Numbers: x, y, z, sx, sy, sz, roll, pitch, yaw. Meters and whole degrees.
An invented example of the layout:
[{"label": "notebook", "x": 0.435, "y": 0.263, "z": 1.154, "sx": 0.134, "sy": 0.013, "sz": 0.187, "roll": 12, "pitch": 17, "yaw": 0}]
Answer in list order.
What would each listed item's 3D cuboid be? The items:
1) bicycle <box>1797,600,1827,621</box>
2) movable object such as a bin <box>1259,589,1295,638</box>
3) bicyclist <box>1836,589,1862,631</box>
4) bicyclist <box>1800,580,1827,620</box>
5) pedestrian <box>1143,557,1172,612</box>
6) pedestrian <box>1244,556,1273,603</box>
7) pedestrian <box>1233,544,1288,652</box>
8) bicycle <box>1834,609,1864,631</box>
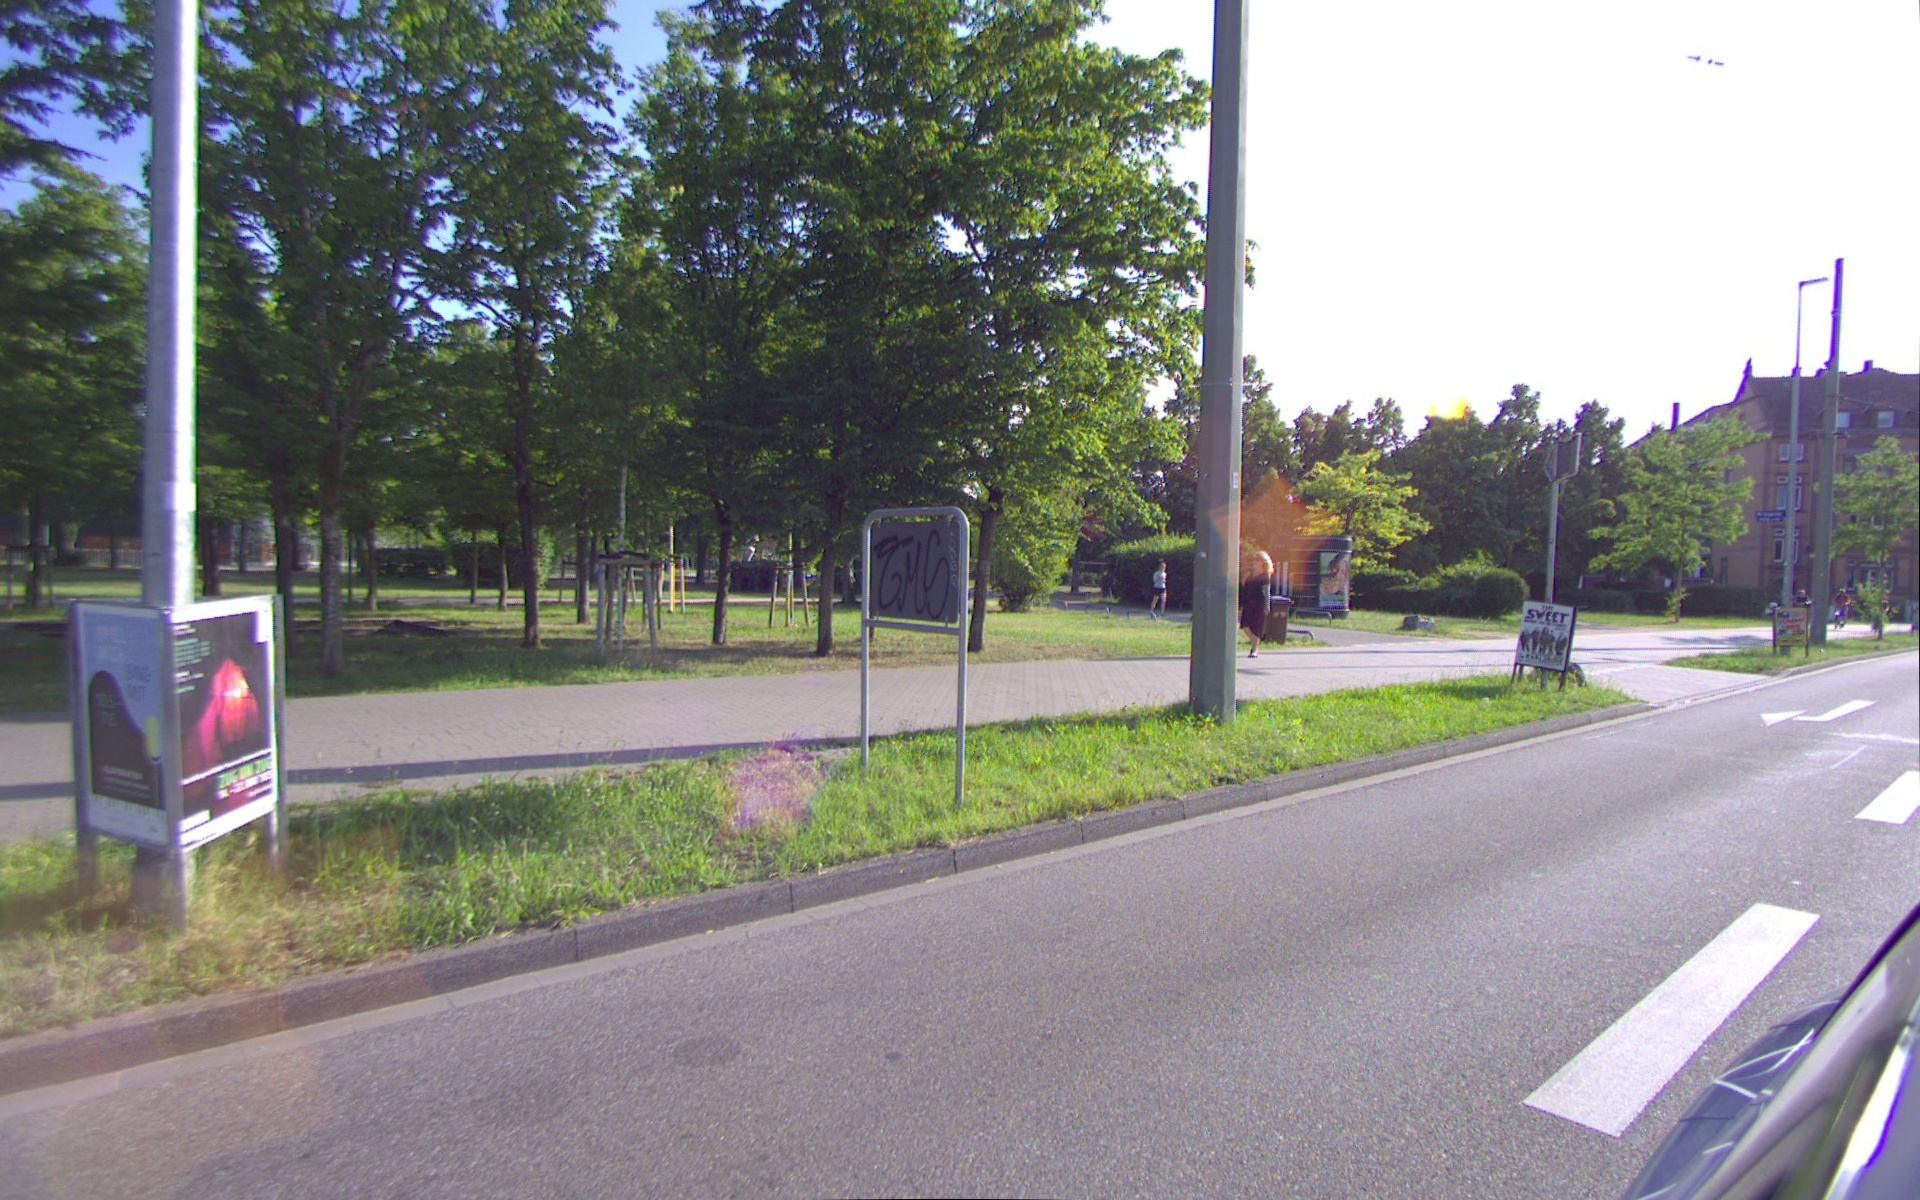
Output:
[{"label": "bicycle", "x": 39.233, "y": 0.466, "z": 46.596, "sx": 2.059, "sy": 0.929, "sz": 0.739, "roll": 0, "pitch": 2, "yaw": -42}, {"label": "movable object such as a bin", "x": 6.230, "y": 0.263, "z": 19.919, "sx": 0.514, "sy": 0.915, "sz": 0.504, "roll": 2, "pitch": 1, "yaw": -2}, {"label": "bicyclist", "x": 39.888, "y": 0.439, "z": 45.398, "sx": 0.998, "sy": 1.795, "sz": 0.730, "roll": 0, "pitch": 2, "yaw": -42}, {"label": "bicyclist", "x": 39.299, "y": 0.008, "z": 46.608, "sx": 1.099, "sy": 1.795, "sz": 0.753, "roll": 0, "pitch": 2, "yaw": -42}, {"label": "pedestrian", "x": 6.175, "y": -0.494, "z": 31.607, "sx": 0.609, "sy": 1.671, "sz": 0.664, "roll": 1, "pitch": 1, "yaw": -16}, {"label": "pedestrian", "x": 14.074, "y": -0.963, "z": 47.764, "sx": 0.872, "sy": 2.184, "sz": 0.914, "roll": 1, "pitch": 1, "yaw": -28}, {"label": "pedestrian", "x": 4.933, "y": -0.040, "z": 16.635, "sx": 0.651, "sy": 1.722, "sz": 0.558, "roll": 0, "pitch": 2, "yaw": -41}, {"label": "bicycle", "x": 39.933, "y": 0.886, "z": 45.440, "sx": 2.058, "sy": 0.929, "sz": 0.739, "roll": 0, "pitch": 2, "yaw": -41}]
